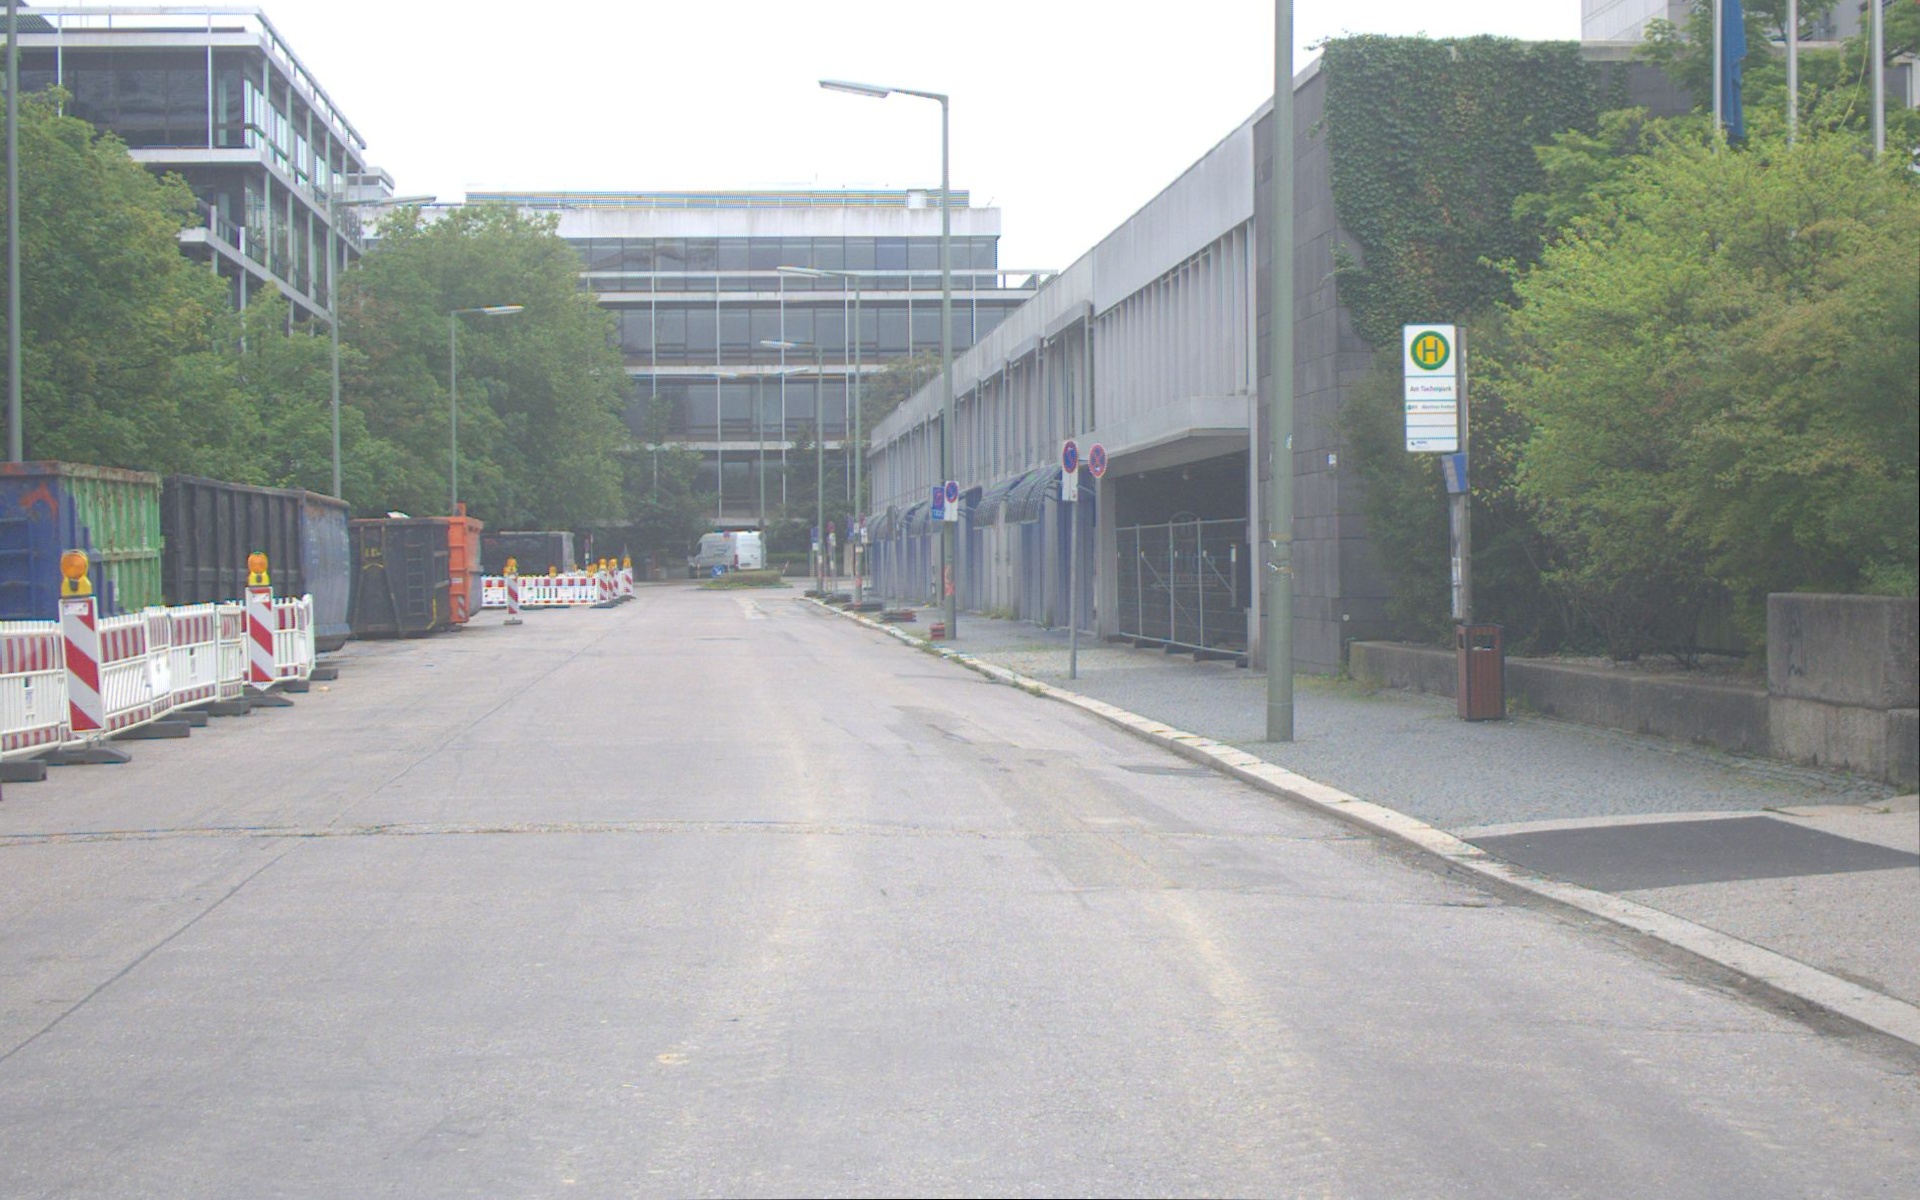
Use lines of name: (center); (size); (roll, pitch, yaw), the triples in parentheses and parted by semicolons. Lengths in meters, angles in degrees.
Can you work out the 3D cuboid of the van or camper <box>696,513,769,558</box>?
van or camper: (-12.732, -3.617, 192.106); (2.085, 2.483, 5.068); (-1, 2, -29)
